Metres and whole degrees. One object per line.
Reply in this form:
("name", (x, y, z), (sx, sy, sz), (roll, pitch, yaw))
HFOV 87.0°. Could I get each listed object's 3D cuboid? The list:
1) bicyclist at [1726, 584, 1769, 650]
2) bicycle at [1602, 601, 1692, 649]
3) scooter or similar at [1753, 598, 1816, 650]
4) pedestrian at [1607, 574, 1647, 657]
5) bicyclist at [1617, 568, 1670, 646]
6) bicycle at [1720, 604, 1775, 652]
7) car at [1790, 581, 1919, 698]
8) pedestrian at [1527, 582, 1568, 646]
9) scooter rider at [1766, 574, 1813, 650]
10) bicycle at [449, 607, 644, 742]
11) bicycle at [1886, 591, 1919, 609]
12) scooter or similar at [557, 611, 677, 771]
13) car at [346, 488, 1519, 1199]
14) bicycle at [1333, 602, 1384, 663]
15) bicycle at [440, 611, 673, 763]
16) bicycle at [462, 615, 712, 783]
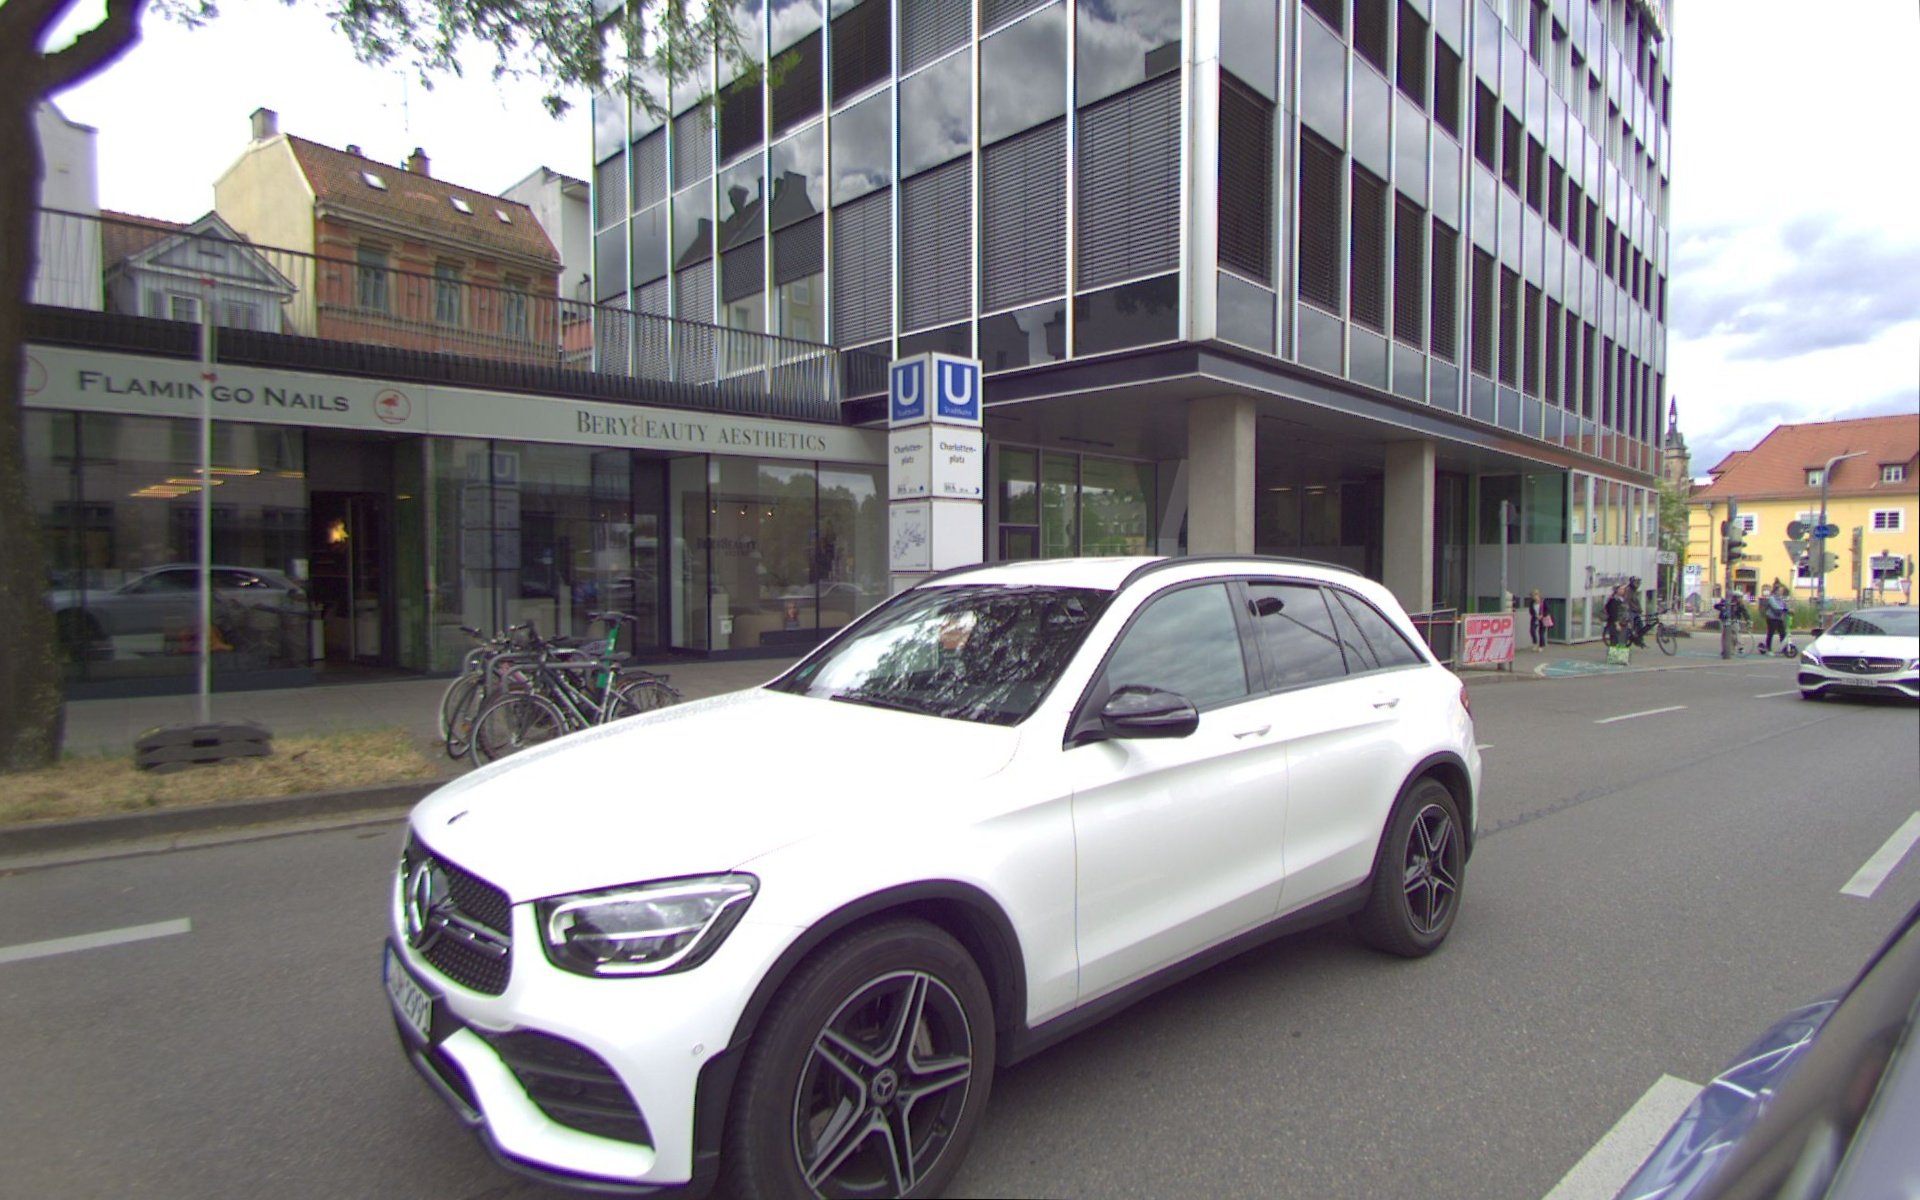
("bicyclist", (19.396, 0.400, 24.928), (0.559, 1.568, 0.841), (2, 2, 21))
("bicycle", (16.982, 0.600, 25.070), (0.666, 1.019, 1.772), (3, 2, -16))
("scooter or similar", (20.601, 0.591, 25.322), (0.583, 1.190, 1.321), (1, 3, 8))
("pedestrian", (14.434, 0.313, 21.890), (0.525, 1.732, 0.741), (4, 5, 44))
("bicyclist", (16.942, 0.161, 25.099), (0.661, 1.868, 0.816), (0, 2, -13))
("bicycle", (19.407, 0.665, 24.979), (0.574, 1.039, 1.659), (2, 3, 21))
("car", (14.663, 0.568, 15.509), (4.563, 1.589, 1.871), (1, -1, -35))
("pedestrian", (13.925, 0.317, 23.991), (0.825, 1.460, 0.604), (-1, 3, -45))
("scooter rider", (20.573, 0.277, 25.099), (0.583, 1.830, 0.642), (1, 2, 8))
("bicycle", (-3.906, 0.664, 9.639), (1.658, 1.146, 0.490), (-1, 2, -40))
("bicycle", (61.678, -0.020, 65.982), (0.609, 1.099, 1.774), (0, 2, -30))
("scooter or similar", (-2.932, 0.748, 8.707), (0.305, 1.267, 0.983), (1, 1, 36))
("car", (0.296, 0.570, 3.831), (4.259, 1.666, 1.806), (-1, 3, -41))
("bicycle", (7.520, 0.583, 19.061), (0.708, 1.061, 1.471), (1, 1, 29))
("bicycle", (-3.469, 0.699, 8.839), (0.489, 1.146, 1.857), (2, 2, 43))
("bicycle", (-2.912, 0.725, 8.031), (1.812, 1.146, 0.490), (-1, 2, -41))
